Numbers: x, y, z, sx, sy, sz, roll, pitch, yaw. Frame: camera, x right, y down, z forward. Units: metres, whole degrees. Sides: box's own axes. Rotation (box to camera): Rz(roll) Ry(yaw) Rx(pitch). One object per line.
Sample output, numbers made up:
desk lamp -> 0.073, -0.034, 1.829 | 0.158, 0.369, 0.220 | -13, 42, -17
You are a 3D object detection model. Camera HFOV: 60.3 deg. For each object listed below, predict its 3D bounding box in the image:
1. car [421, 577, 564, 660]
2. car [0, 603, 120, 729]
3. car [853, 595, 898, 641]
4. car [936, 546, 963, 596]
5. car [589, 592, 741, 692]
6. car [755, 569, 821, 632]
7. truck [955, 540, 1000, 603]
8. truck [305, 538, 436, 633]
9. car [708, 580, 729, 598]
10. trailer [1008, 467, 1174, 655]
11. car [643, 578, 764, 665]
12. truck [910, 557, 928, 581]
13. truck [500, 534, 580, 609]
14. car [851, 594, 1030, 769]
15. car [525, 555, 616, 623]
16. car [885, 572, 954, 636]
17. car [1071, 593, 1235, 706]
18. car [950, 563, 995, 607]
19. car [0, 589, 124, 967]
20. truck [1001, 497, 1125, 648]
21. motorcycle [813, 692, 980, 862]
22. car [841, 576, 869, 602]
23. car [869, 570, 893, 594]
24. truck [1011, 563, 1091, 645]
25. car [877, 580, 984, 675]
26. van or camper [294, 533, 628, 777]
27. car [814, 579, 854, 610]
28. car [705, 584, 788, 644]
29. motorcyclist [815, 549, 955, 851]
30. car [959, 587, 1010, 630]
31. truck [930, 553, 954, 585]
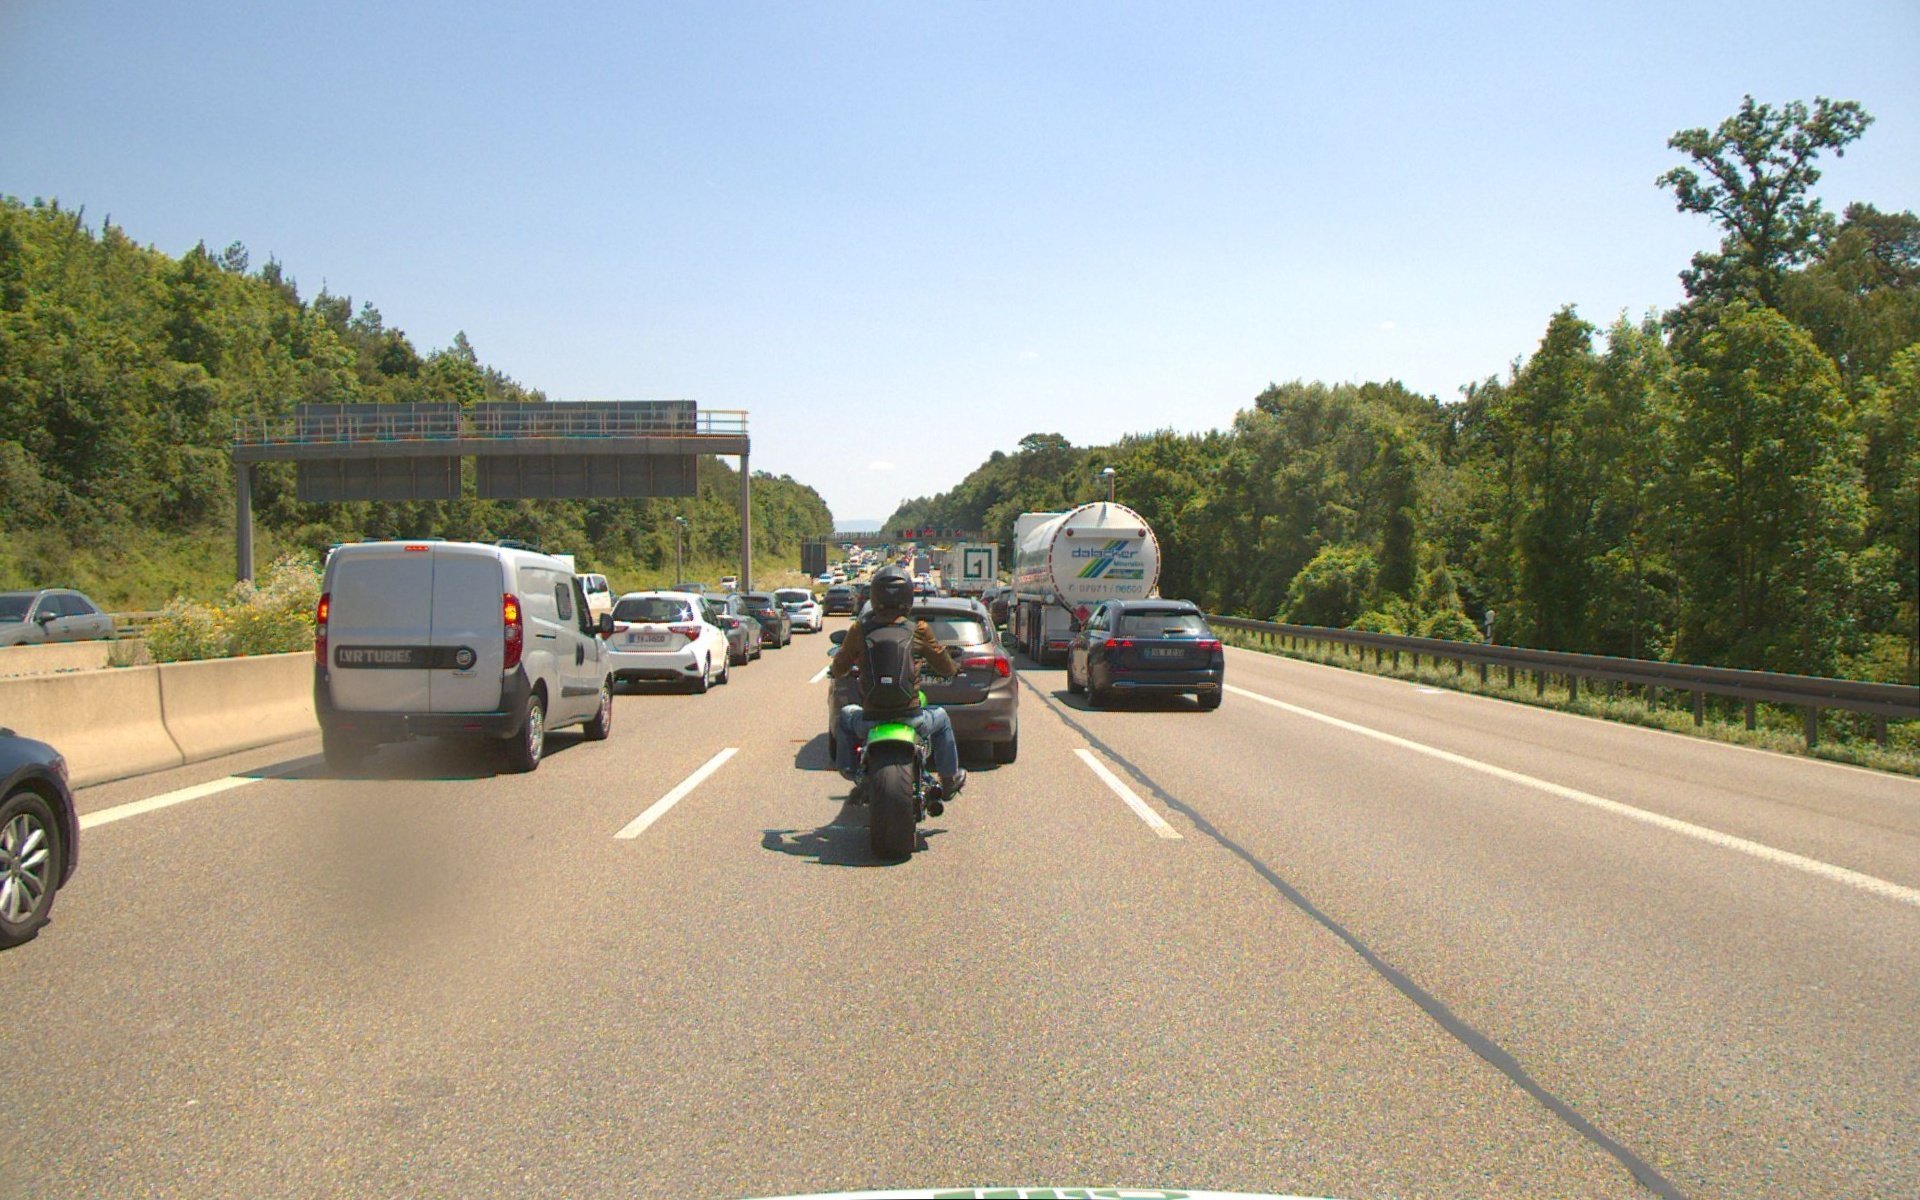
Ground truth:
car -> -9.057, 0.329, 32.347 | 1.788, 1.521, 3.998 | 0, 0, -2
car -> -15.193, 0.987, 26.091 | 1.748, 1.870, 4.292 | 1, -1, -2
car -> -3.907, 0.832, 77.042 | 1.953, 2.049, 3.999 | 1, -1, -1
car -> -0.922, -2.433, 142.415 | 2.123, 3.961, 9.326 | 1, -1, -1
car -> -4.542, 0.633, 25.979 | 1.740, 1.435, 3.999 | 1, -1, -1
car -> -5.811, 0.051, 56.273 | 1.953, 2.049, 3.998 | 1, -1, -2
truck -> 1.170, -1.795, 108.151 | 2.794, 3.888, 7.188 | 1, -1, 1
truck -> -19.536, -0.412, 55.182 | 2.134, 2.935, 6.739 | 1, -1, -2
car -> -27.638, -1.272, 189.493 | 1.862, 2.049, 3.999 | -1, 0, -2
trailer -> 2.791, -0.717, 38.594 | 2.771, 3.735, 10.728 | 1, -1, -1
car -> -5.345, 0.448, 34.966 | 1.953, 1.713, 4.328 | 1, -1, -1
truck -> -6.167, -4.608, 250.709 | 2.642, 3.465, 10.475 | -1, 0, -1
truck -> -23.840, -1.528, 94.342 | 2.637, 4.059, 7.987 | 1, -1, -1
car -> -0.208, 0.688, 16.060 | 1.509, 1.475, 3.999 | 1, 0, -1
car -> -12.368, -0.308, 52.717 | 1.953, 2.049, 3.999 | 1, -1, -1
car -> -1.241, 0.143, 49.644 | 1.953, 1.806, 3.998 | 1, -1, -2
car -> 2.715, 0.691, 24.275 | 1.756, 1.484, 4.622 | 1, -1, -1
car -> 0.596, -0.704, 80.512 | 1.954, 2.049, 3.997 | 1, -1, -3
car -> -4.621, 0.679, 5.048 | 1.836, 1.475, 4.676 | 1, 0, -1
truck -> 2.652, -0.656, 44.468 | 2.771, 3.735, 6.427 | 1, -1, -1
motorcycle -> -0.378, 1.044, 10.298 | 0.917, 0.807, 2.298 | 1, 0, -1
car -> -6.738, -0.671, 106.387 | 1.627, 1.627, 3.999 | 0, 0, -1
car -> -6.840, -1.521, 143.434 | 1.953, 2.049, 3.999 | -1, 0, -1
truck -> 3.465, 0.127, 64.895 | 2.340, 3.031, 8.249 | 0, 0, -2
car -> -0.617, 0.530, 32.463 | 1.953, 1.741, 3.998 | 1, -1, -2
van or camper -> -4.401, 0.412, 15.370 | 1.815, 1.913, 4.560 | 1, 1, -2
car -> -6.131, -0.251, 80.798 | 1.728, 1.467, 3.999 | 1, -1, -1
car -> -5.595, 0.382, 43.804 | 1.954, 1.490, 3.996 | 1, -1, -4
motorcyclist -> -0.438, 0.576, 9.934 | 0.782, 1.717, 1.016 | 1, -1, -2
car -> 0.892, 0.319, 62.243 | 1.740, 1.554, 3.999 | 1, -1, -1
truck -> -2.082, -3.535, 191.920 | 2.642, 3.465, 10.475 | -1, 0, -1
